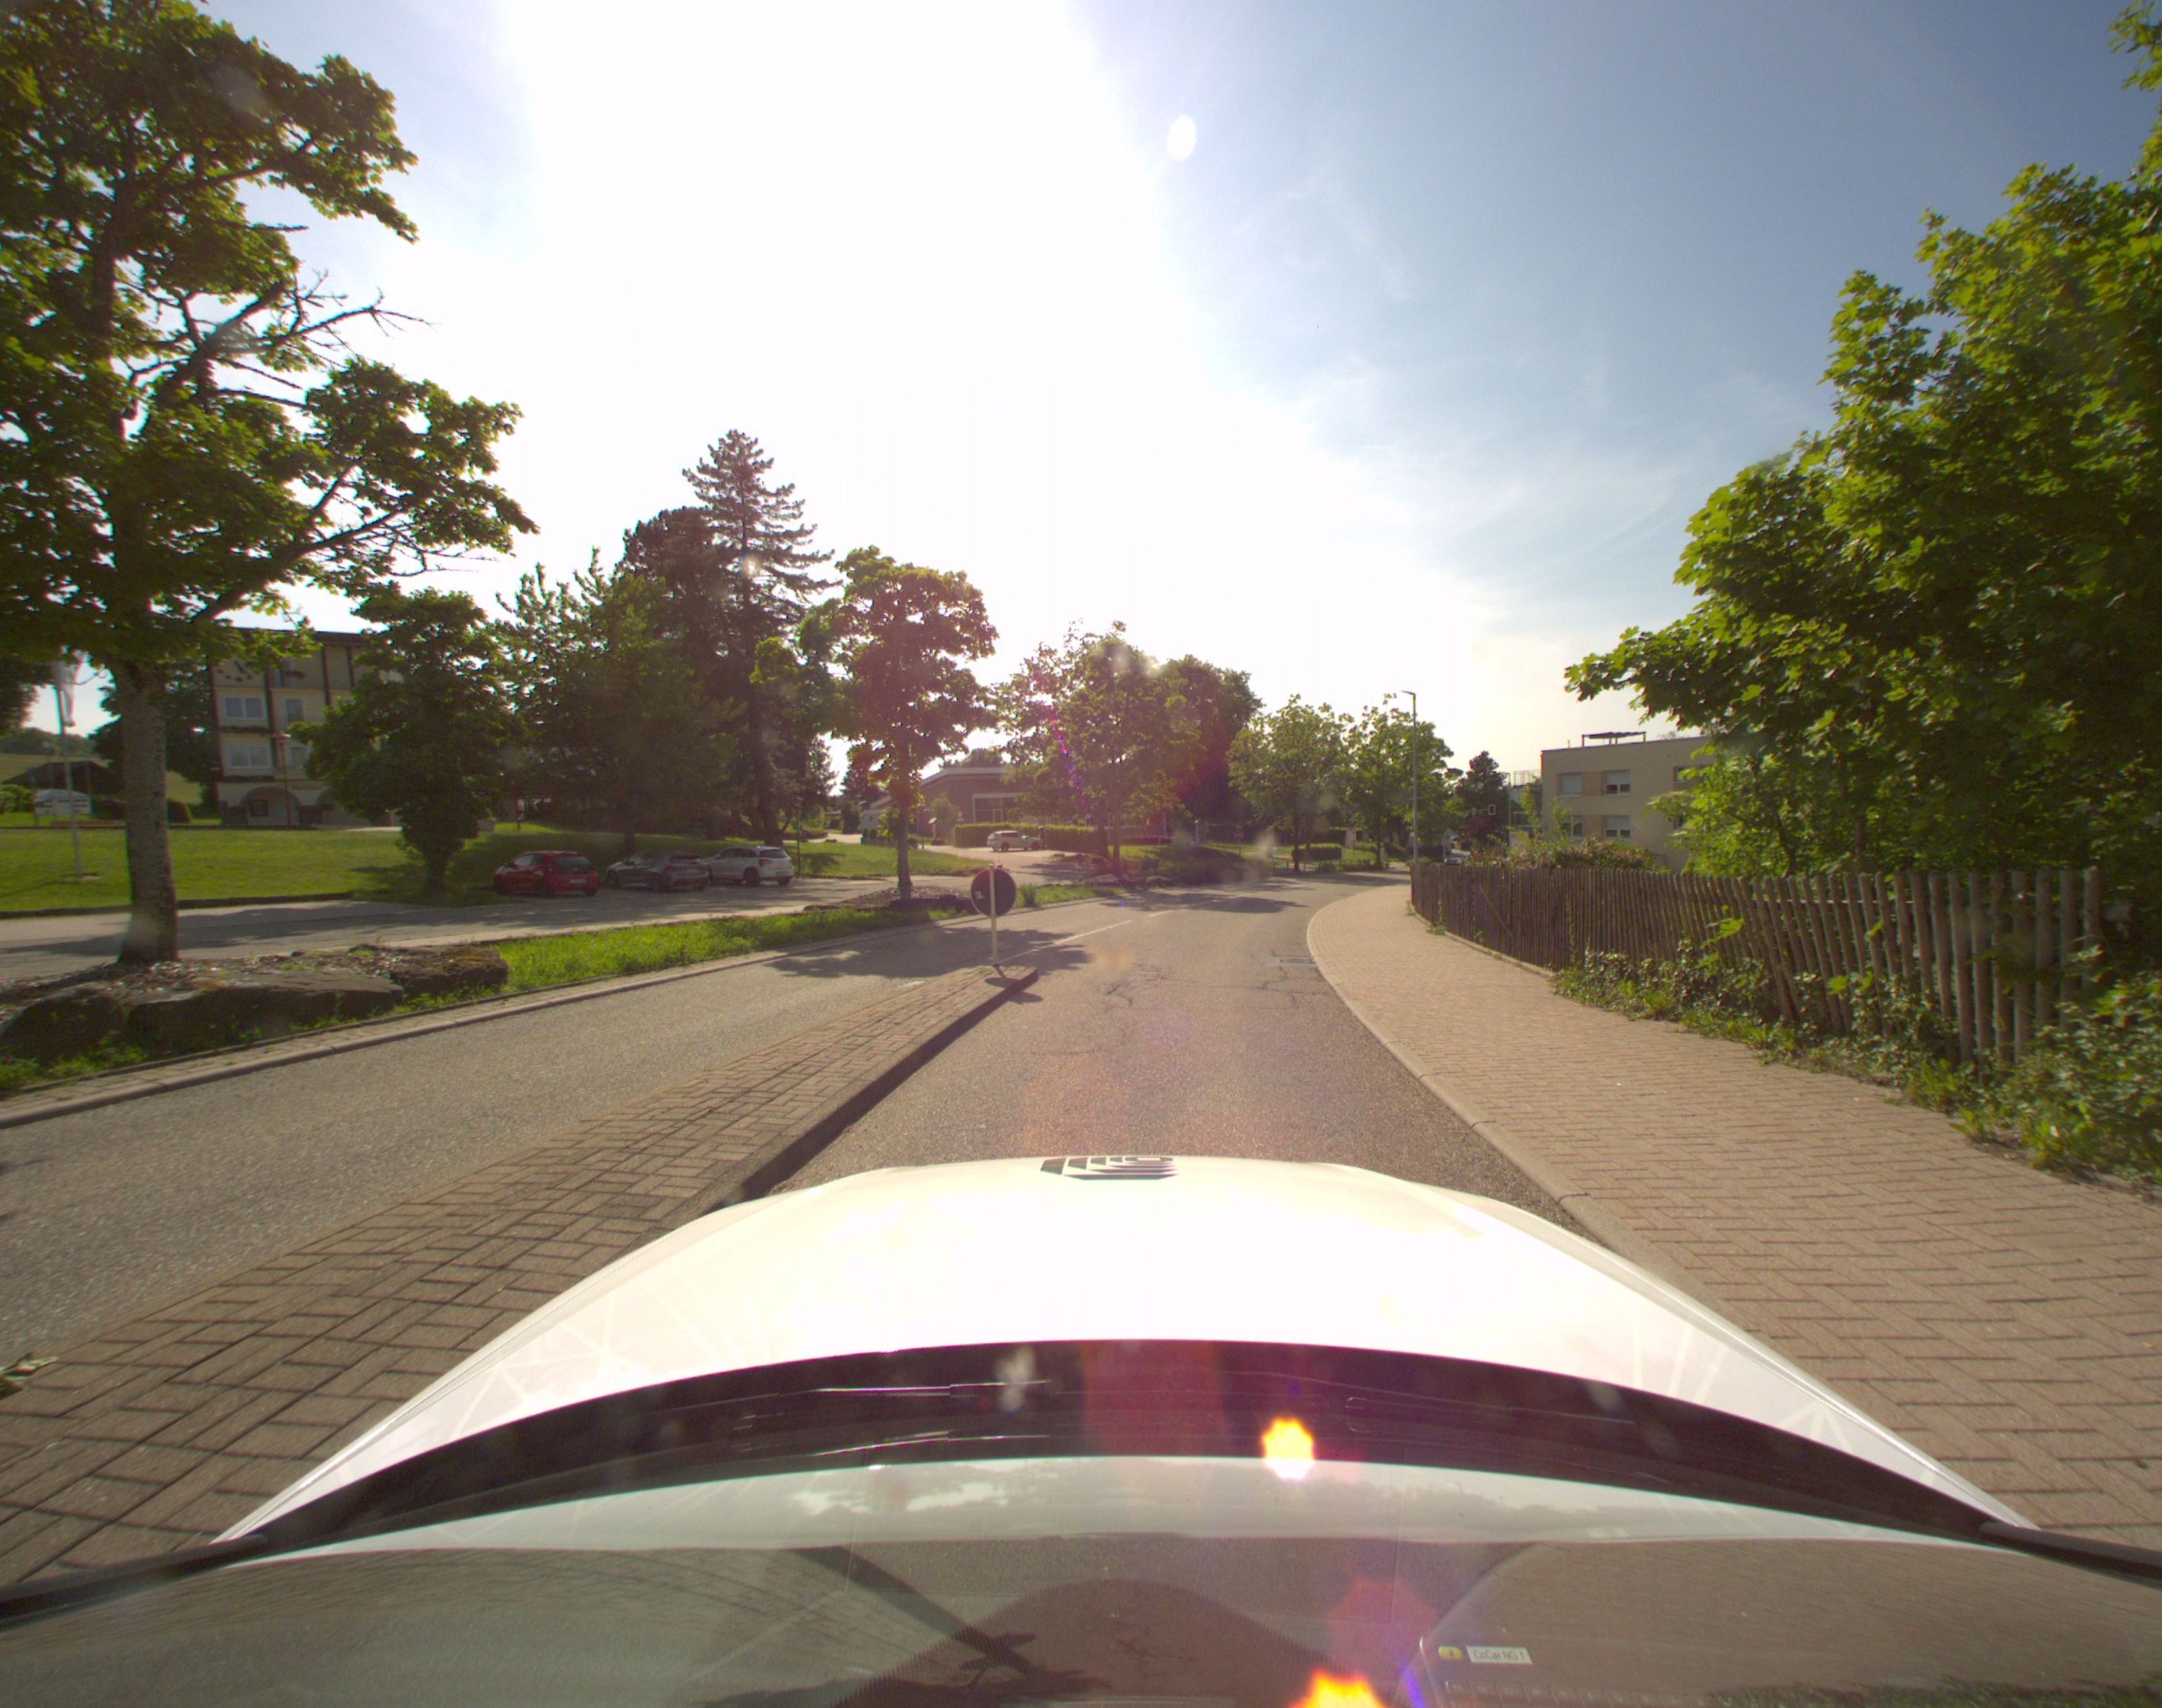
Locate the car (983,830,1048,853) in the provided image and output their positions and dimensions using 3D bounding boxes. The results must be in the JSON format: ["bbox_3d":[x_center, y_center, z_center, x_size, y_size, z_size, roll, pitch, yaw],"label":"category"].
[{"bbox_3d":[-5.220,-1.048,65.083,4.746,1.533,1.982,-3,6,-31],"label":"car"}]

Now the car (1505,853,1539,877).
[{"bbox_3d":[30.381,0.732,56.054,1.691,1.535,4.033,0,0,34],"label":"car"}]

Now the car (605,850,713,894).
[{"bbox_3d":[-15.217,0.617,29.364,3.666,1.433,1.787,1,1,31],"label":"car"}]

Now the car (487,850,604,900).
[{"bbox_3d":[-17.470,0.634,26.584,3.168,1.470,1.786,1,1,25],"label":"car"}]

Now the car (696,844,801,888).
[{"bbox_3d":[-13.494,0.446,33.026,3.892,1.609,1.787,1,1,26],"label":"car"}]
